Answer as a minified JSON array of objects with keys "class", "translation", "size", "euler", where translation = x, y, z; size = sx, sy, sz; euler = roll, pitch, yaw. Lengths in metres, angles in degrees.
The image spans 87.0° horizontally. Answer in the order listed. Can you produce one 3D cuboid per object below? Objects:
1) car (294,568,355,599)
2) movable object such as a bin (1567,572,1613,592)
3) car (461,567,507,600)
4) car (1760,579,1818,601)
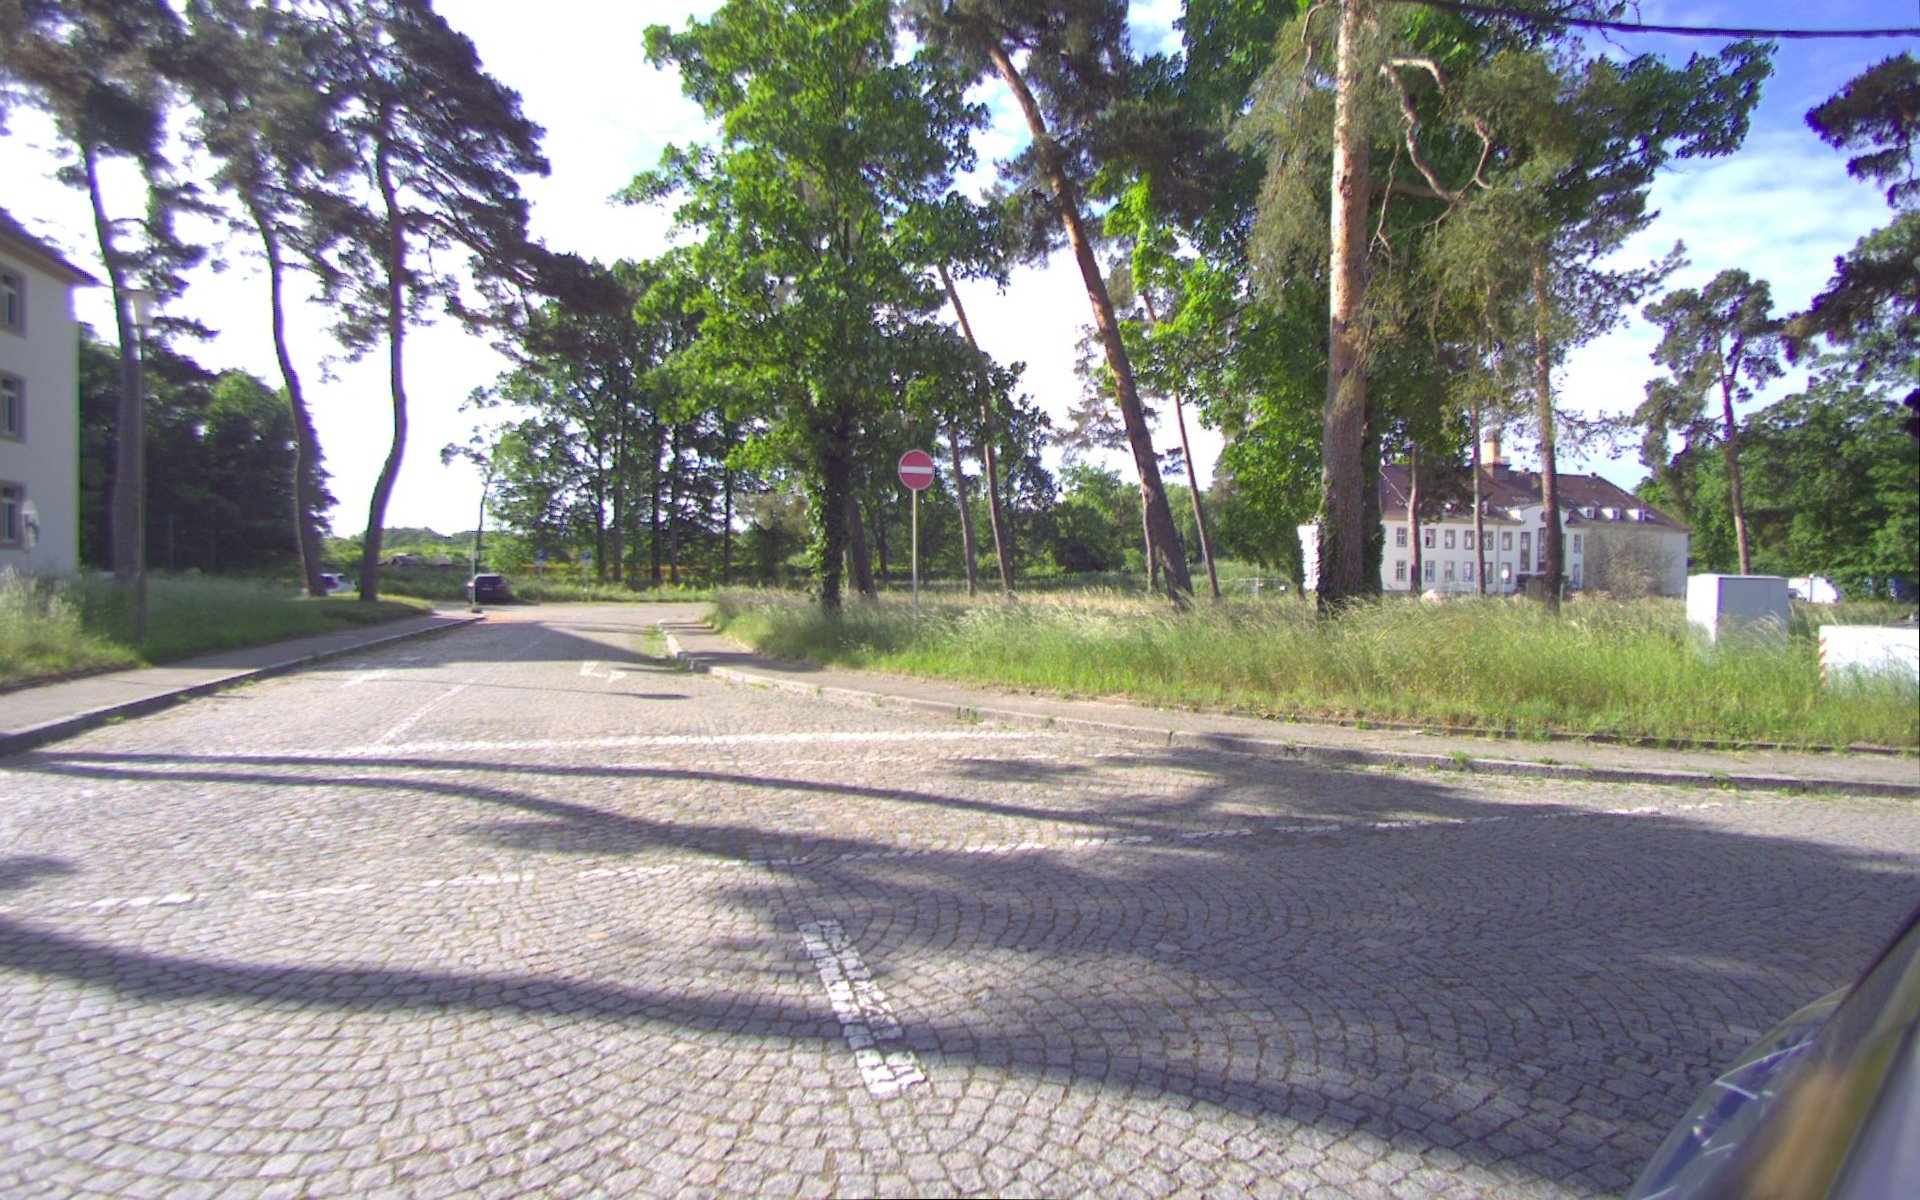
[{"class":"car","translation":[-31.600,-0.839,50.449],"size":[1.808,1.482,4.009],"euler":[0,1,-21]},{"class":"movable object such as a bin","translation":[73.765,-2.103,118.532],"size":[4.882,2.352,2.005],"euler":[0,1,-21]},{"class":"car","translation":[-24.398,-0.876,51.939],"size":[1.817,1.618,4.009],"euler":[0,1,-21]},{"class":"car","translation":[79.627,-0.936,97.190],"size":[4.672,2.039,2.005],"euler":[0,1,-16]}]
